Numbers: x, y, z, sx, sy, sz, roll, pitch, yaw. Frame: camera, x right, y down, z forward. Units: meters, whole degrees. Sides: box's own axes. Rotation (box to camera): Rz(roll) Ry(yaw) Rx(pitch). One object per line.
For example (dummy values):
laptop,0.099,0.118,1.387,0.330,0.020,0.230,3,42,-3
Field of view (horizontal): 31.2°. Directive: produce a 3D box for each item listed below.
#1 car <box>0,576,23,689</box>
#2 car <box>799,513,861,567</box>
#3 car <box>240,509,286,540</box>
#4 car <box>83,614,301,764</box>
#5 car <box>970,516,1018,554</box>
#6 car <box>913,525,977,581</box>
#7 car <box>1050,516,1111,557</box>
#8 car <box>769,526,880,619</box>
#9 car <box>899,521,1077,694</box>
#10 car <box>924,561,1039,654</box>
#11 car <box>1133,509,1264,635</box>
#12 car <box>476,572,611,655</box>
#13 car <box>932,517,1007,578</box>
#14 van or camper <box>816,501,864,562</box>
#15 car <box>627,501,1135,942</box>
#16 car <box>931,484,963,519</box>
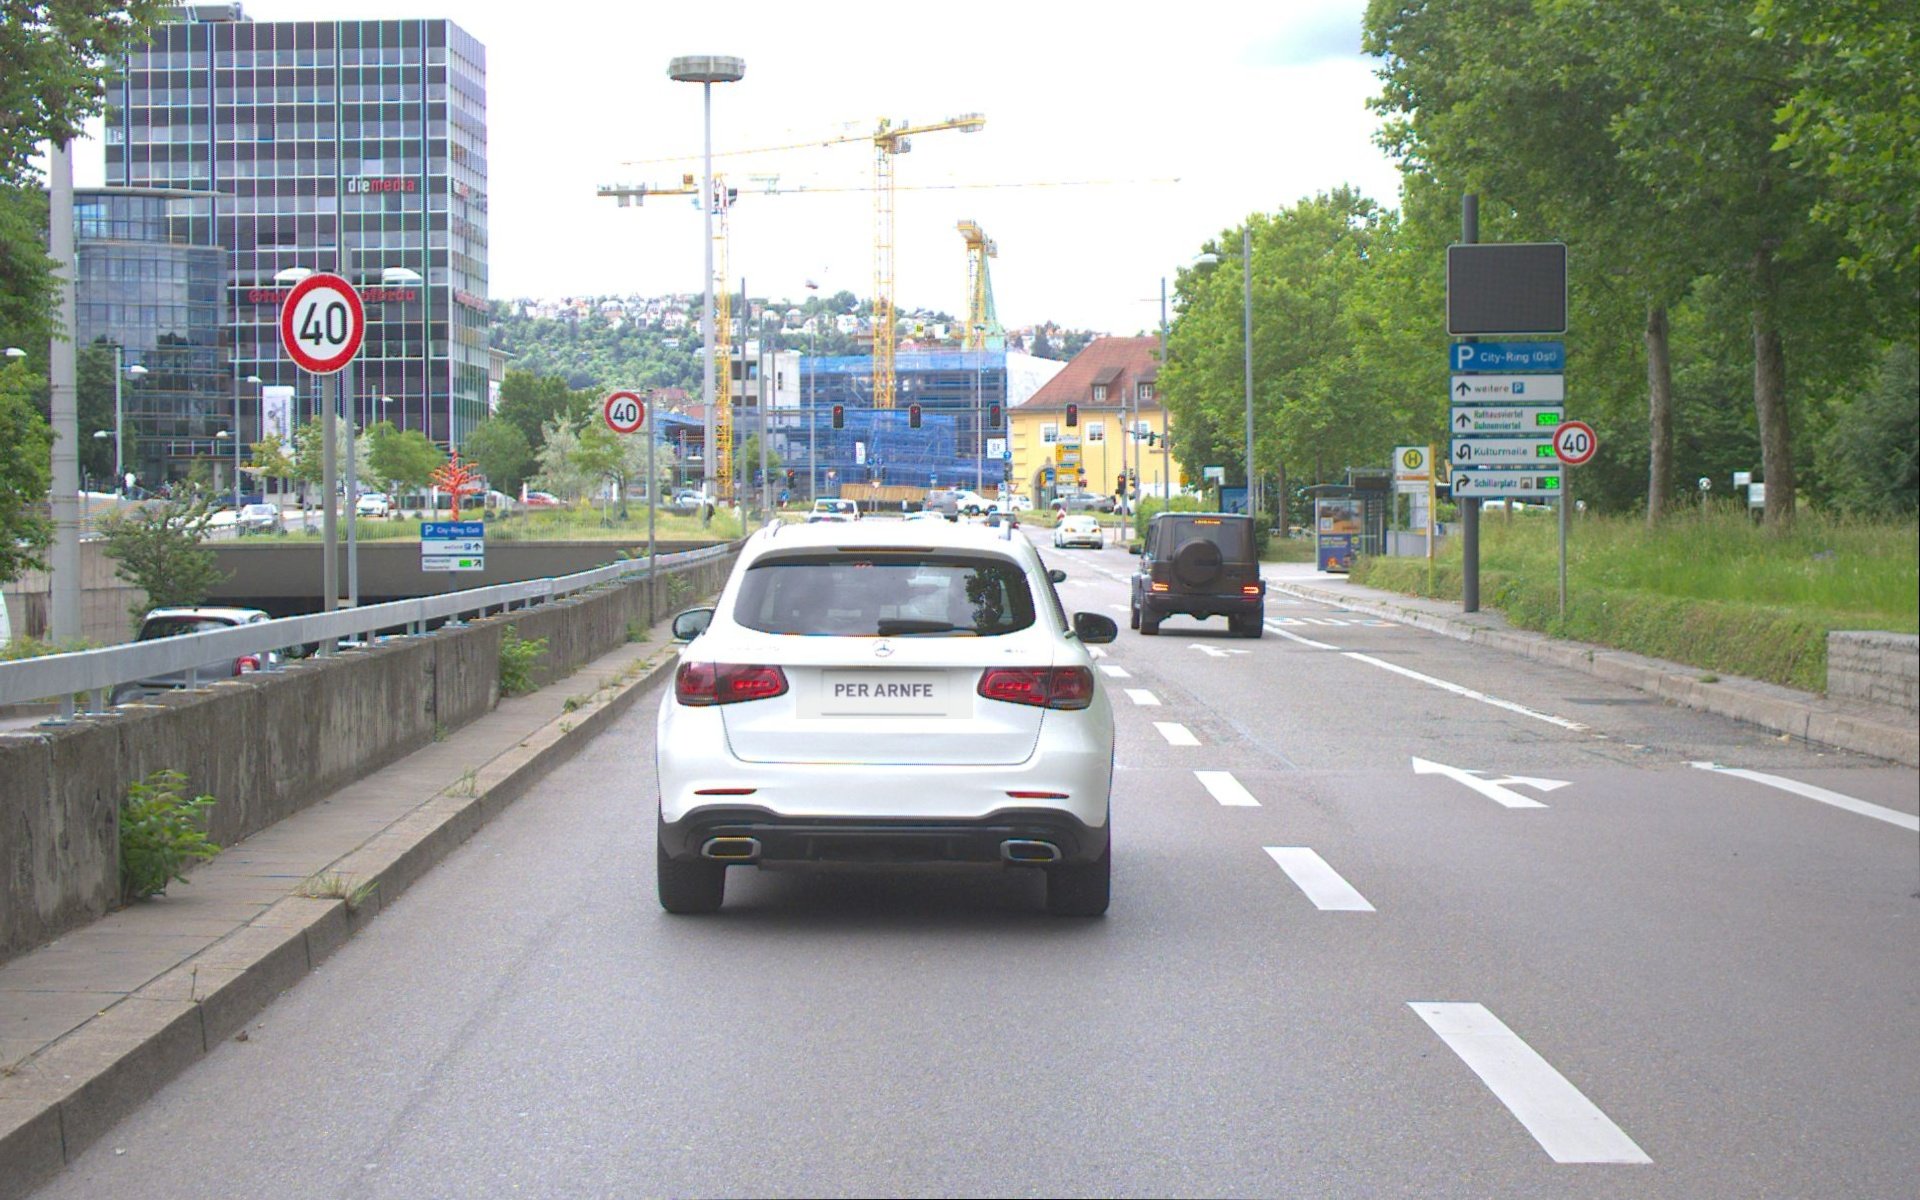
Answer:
car,-19.163,0.597,63.751,1.975,2.158,6.213,1,0,-2
car,-4.588,-2.117,122.025,1.993,1.751,4.000,2,0,0
car,-33.830,-3.654,166.879,1.832,1.355,3.869,2,0,-7
car,-8.269,0.928,37.265,1.627,1.504,3.540,1,0,-2
car,1.451,-2.794,147.937,1.719,1.579,4.001,2,1,-3
car,-0.539,-1.597,117.264,1.993,1.774,4.000,2,0,-2
car,5.170,-2.728,147.873,1.993,1.612,4.001,2,0,-6
car,-2.432,-0.517,61.970,1.922,1.596,4.000,1,1,-2
car,0.250,0.063,35.355,1.672,1.622,4.000,2,0,-1
car,0.362,0.110,63.112,1.922,1.596,4.000,1,1,-2
car,3.843,-0.433,56.028,1.978,1.887,4.706,2,0,3
car,-7.044,0.207,58.477,1.719,1.288,4.000,2,1,1
car,0.246,-1.521,100.795,1.993,1.656,4.000,2,0,-2
van or camper,-4.891,-2.789,140.156,1.922,2.312,4.000,1,-1,-2
car,-0.380,0.469,15.267,1.940,1.678,4.000,1,0,-2
car,-0.823,-6.081,213.057,1.800,2.007,4.000,2,0,-2
